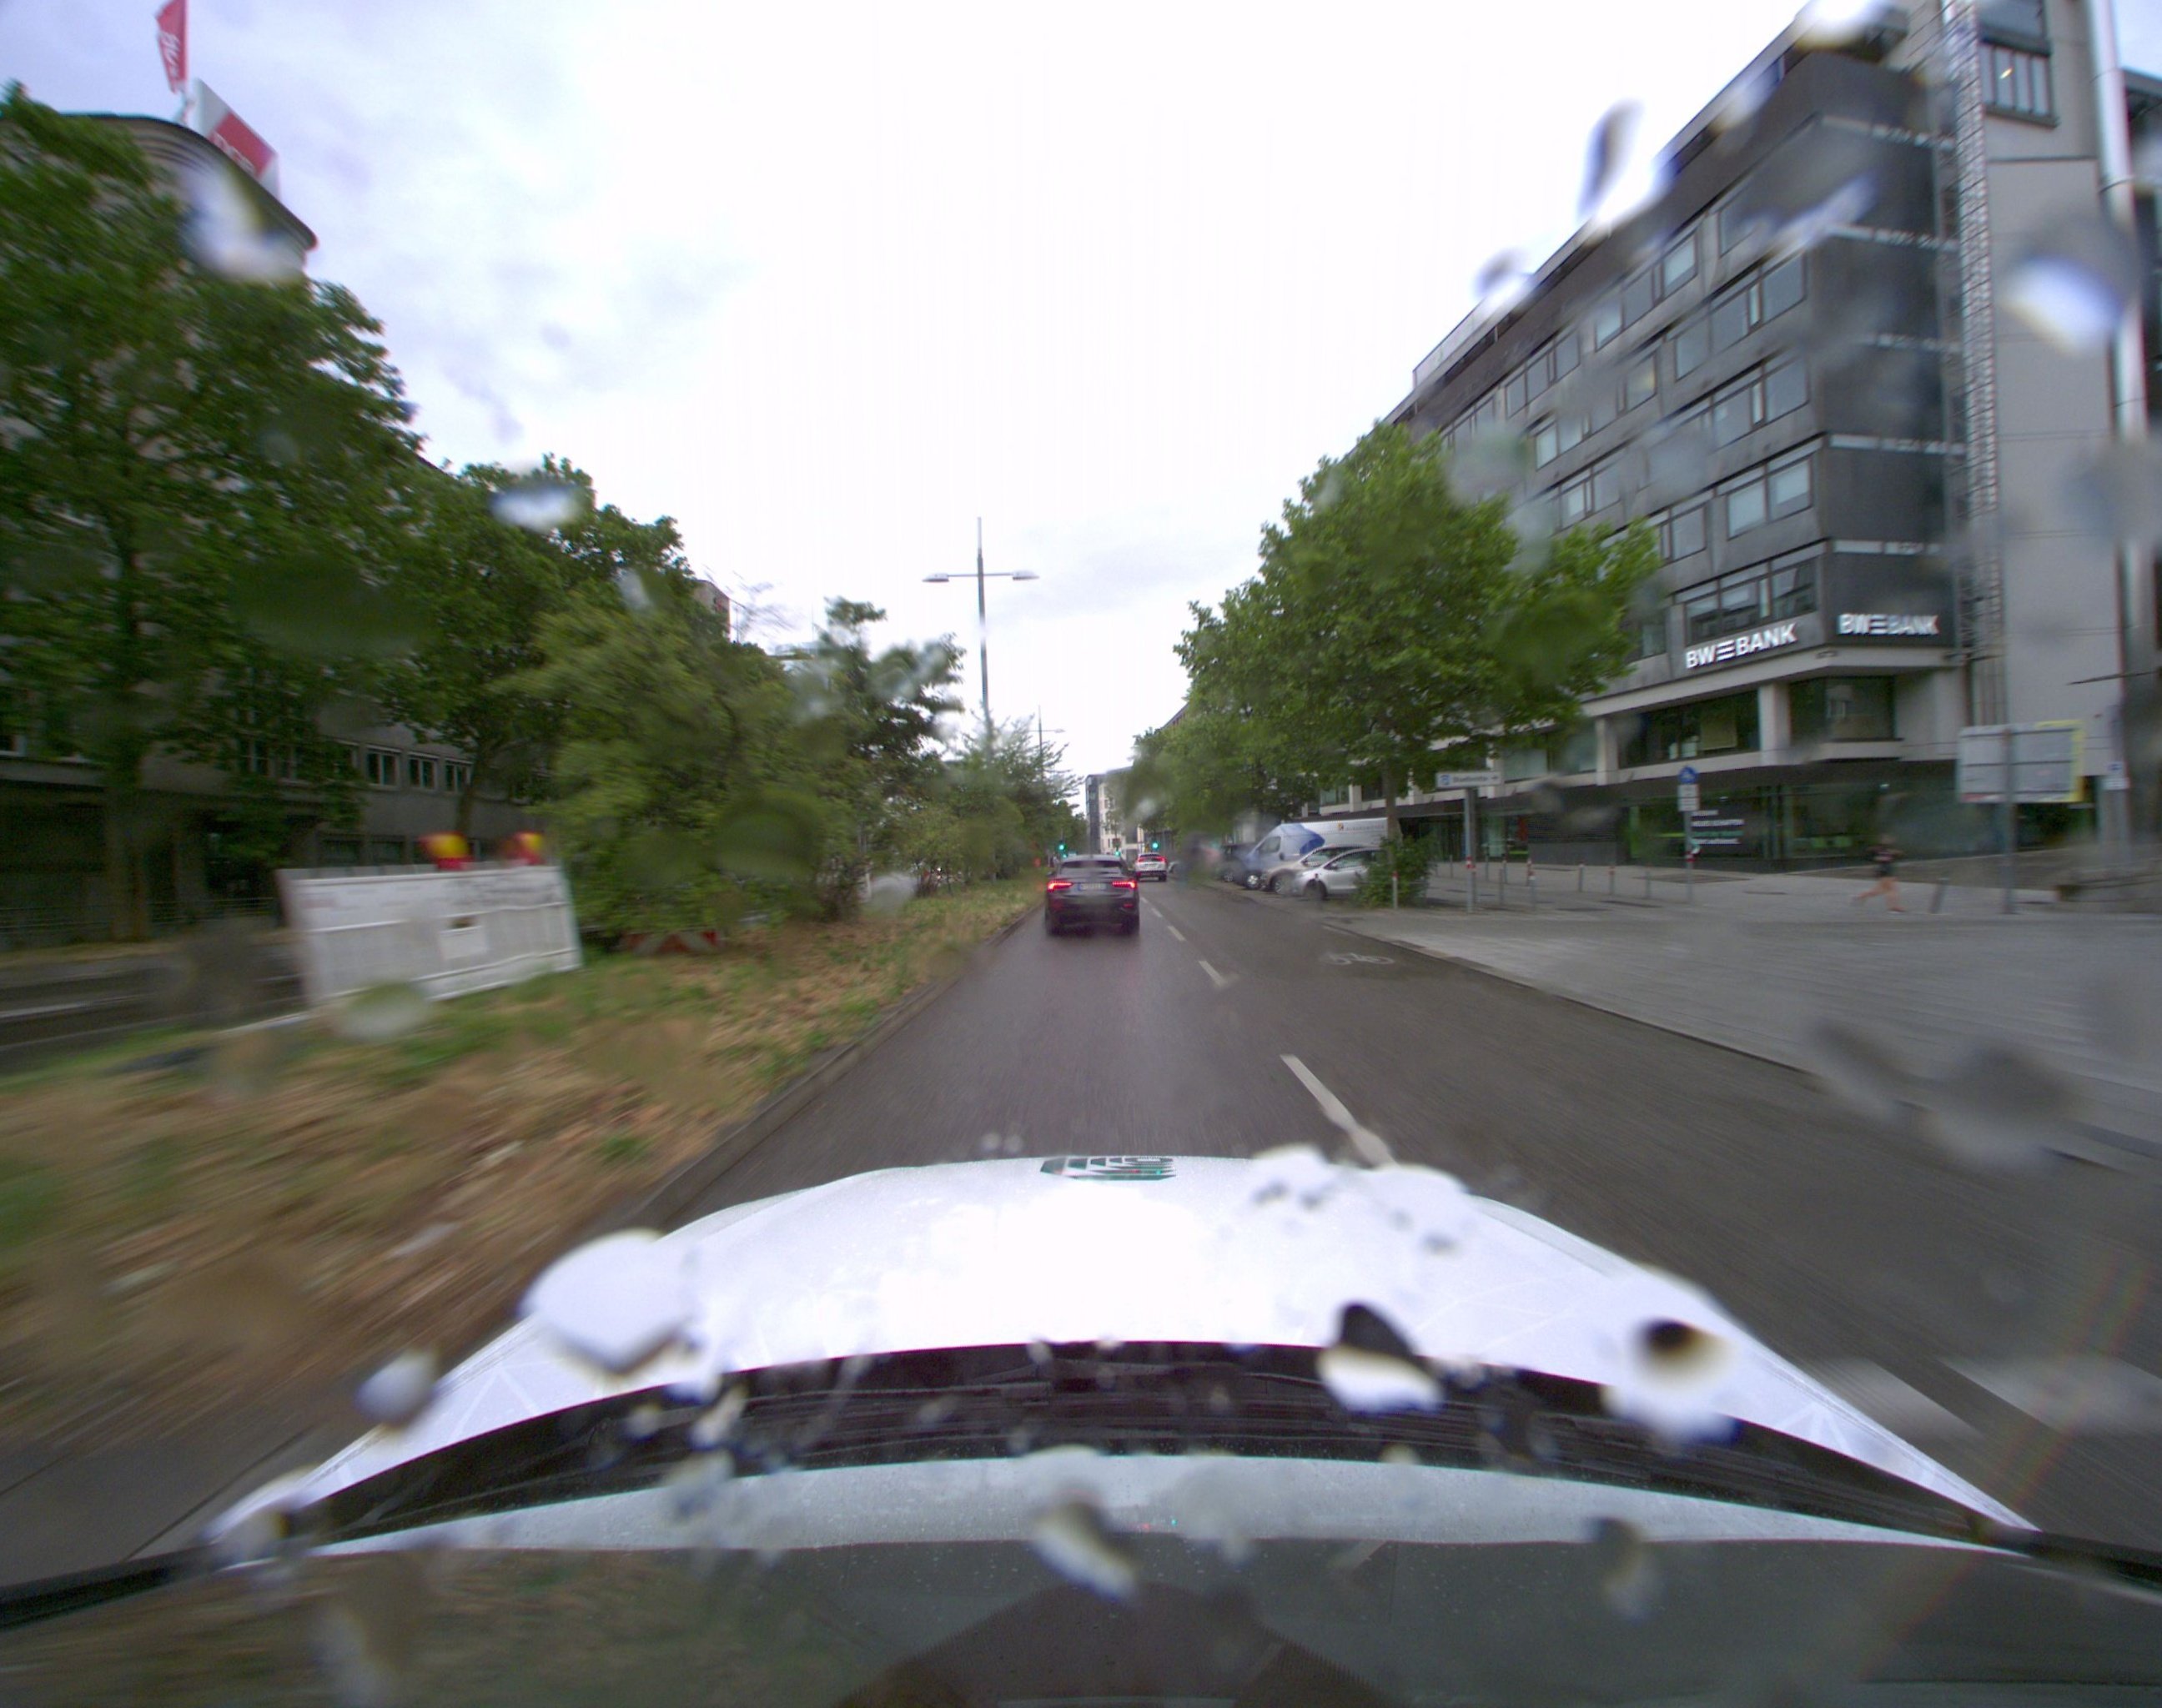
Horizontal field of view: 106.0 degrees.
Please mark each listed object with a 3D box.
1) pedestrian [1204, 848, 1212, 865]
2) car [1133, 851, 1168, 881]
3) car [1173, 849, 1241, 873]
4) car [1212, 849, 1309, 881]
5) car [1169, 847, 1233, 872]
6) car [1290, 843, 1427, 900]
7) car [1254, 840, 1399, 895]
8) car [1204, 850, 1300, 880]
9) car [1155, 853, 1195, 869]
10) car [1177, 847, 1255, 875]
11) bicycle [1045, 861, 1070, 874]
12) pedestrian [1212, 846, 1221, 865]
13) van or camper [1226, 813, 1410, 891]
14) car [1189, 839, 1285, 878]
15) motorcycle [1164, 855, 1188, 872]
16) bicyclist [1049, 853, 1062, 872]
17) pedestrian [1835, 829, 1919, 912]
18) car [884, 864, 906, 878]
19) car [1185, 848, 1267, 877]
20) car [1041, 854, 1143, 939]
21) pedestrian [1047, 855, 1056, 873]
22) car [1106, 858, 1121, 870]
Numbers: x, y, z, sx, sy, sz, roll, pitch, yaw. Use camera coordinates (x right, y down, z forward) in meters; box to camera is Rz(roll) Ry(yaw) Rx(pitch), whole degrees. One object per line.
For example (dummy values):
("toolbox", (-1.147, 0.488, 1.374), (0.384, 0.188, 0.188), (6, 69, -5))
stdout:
("pedestrian", (14.602, 0.263, 93.548), (0.860, 1.904, 0.888), (-1, -1, 13))
("car", (4.047, 0.696, 47.914), (1.842, 1.669, 4.041), (-1, 0, 2))
("car", (8.826, 0.496, 57.226), (4.252, 1.488, 1.855), (-3, 0, 31))
("car", (8.883, 0.546, 40.388), (4.323, 1.436, 1.772), (-2, -1, 28))
("car", (8.864, 0.420, 60.192), (4.177, 1.669, 1.850), (-3, 0, 29))
("car", (8.060, 0.507, 23.686), (3.617, 1.547, 1.724), (-1, 0, 21))
("car", (7.955, 0.437, 26.441), (4.216, 1.667, 1.829), (-1, 0, 28))
("car", (9.070, 0.575, 43.304), (4.578, 1.394, 1.859), (-3, -1, 30))
("car", (9.752, 0.703, 84.656), (3.815, 1.568, 1.678), (-2, -2, 43))
("car", (8.721, 0.449, 52.529), (4.738, 1.534, 1.877), (-3, 0, 16))
("bicycle", (-2.133, 1.197, 74.062), (2.246, 1.162, 0.751), (1, -1, 1))
("pedestrian", (15.524, 0.176, 93.413), (0.929, 2.115, 1.079), (-1, -1, 13))
("van or camper", (8.540, -0.012, 29.561), (6.008, 2.558, 2.118), (-2, -1, 29))
("car", (8.866, 0.260, 46.424), (4.890, 1.978, 1.941), (-3, 0, 27))
("motorcycle", (8.215, 0.790, 70.283), (2.015, 1.415, 0.727), (-1, -1, 10))
("bicyclist", (-2.332, 0.772, 74.078), (1.100, 1.622, 0.751), (1, -1, 1))
("pedestrian", (17.034, 0.344, 17.445), (0.812, 1.696, 1.174), (0, -1, -39))
("car", (-21.353, 1.950, 93.616), (1.872, 1.536, 4.068), (-3, -1, -6))
("car", (8.774, 0.520, 49.341), (4.512, 1.507, 1.880), (-3, 0, 26))
("car", (0.257, 0.786, 17.069), (1.843, 1.523, 4.040), (-1, 0, 1))
("pedestrian", (-2.840, 0.969, 78.554), (0.657, 1.793, 0.753), (-1, -1, 14))
("car", (4.141, 1.274, 104.131), (1.842, 1.523, 4.041), (-1, 0, 2))
